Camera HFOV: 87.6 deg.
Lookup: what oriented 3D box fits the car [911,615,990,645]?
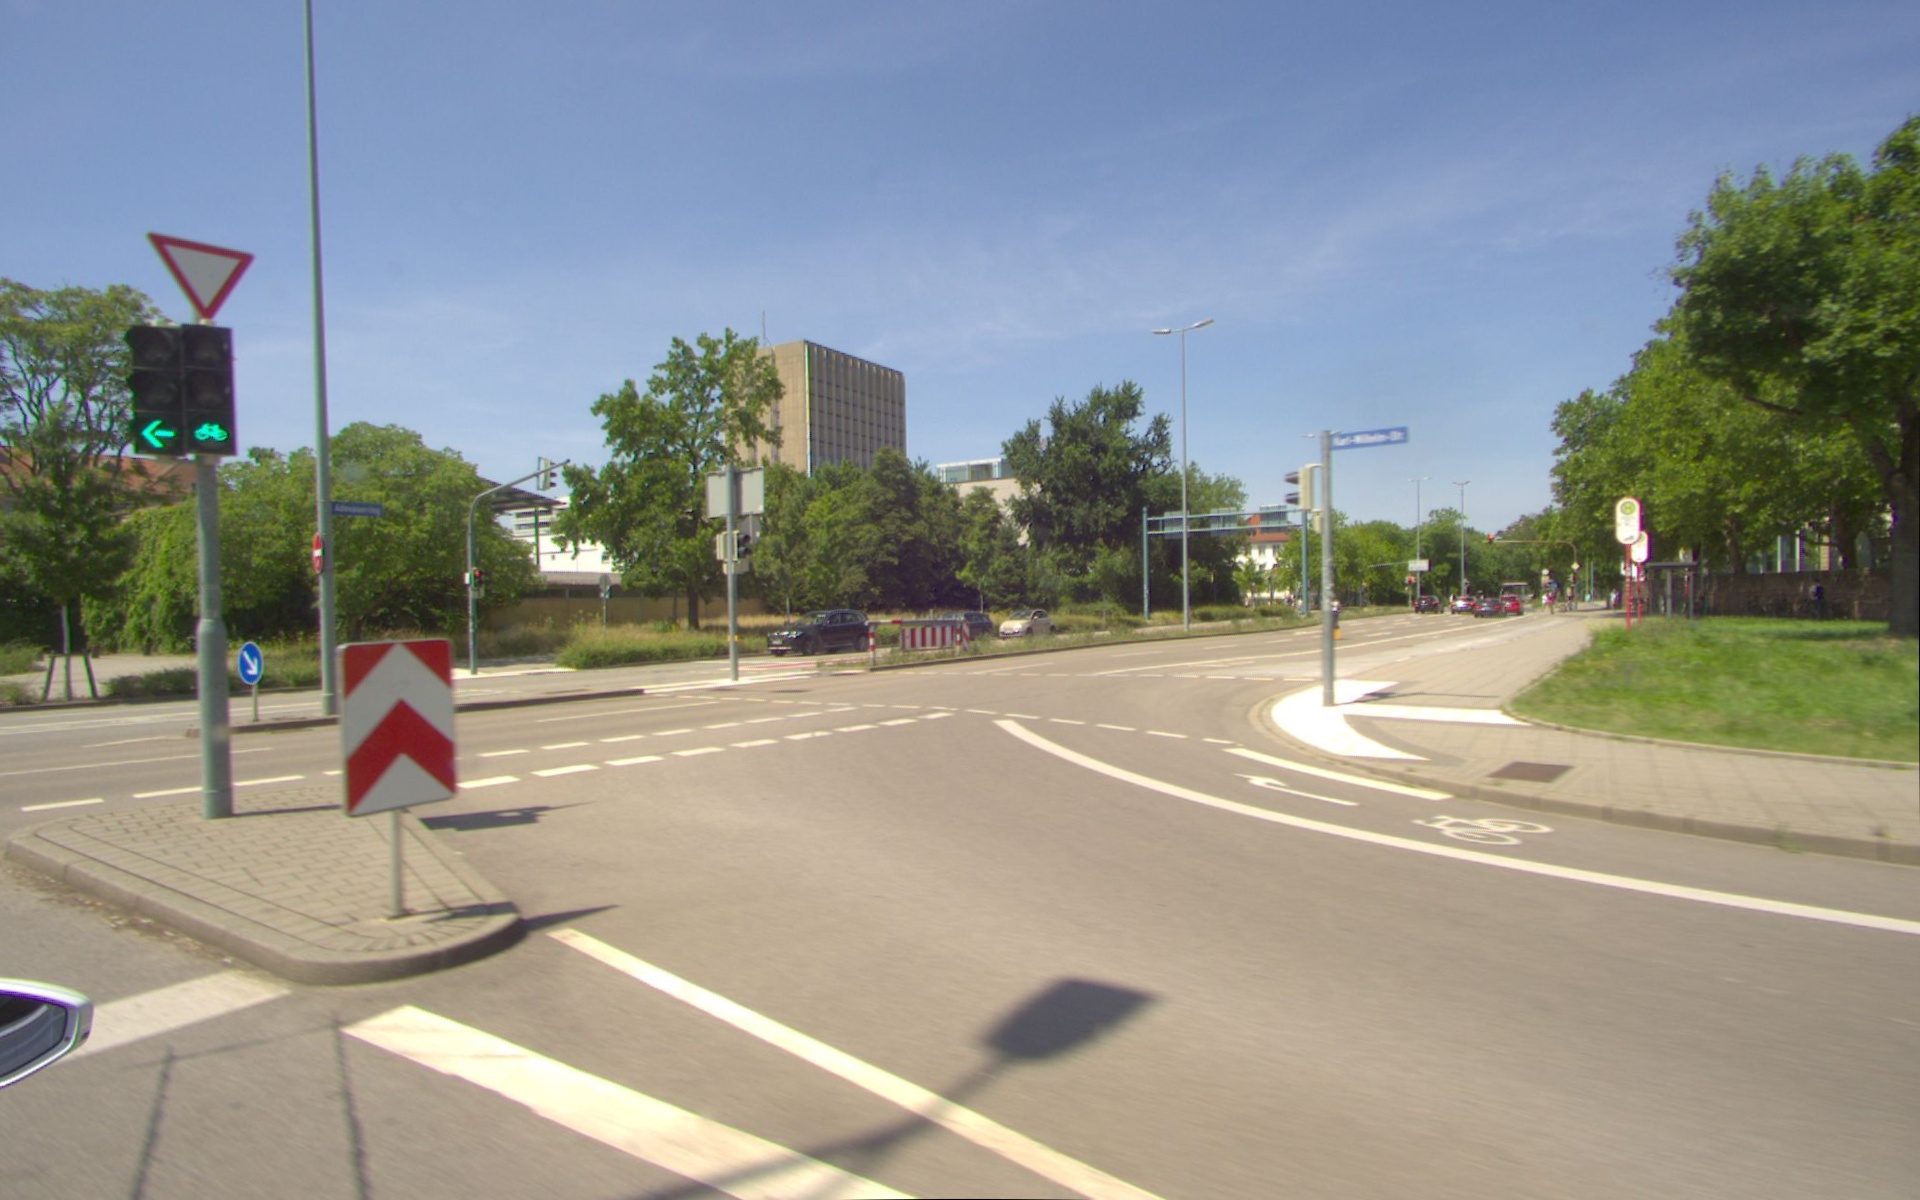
[{"bbox_3d":[-0.393,1.365,45.232,1.734,1.327,3.981,-1,-2,31],"label":"car"}]

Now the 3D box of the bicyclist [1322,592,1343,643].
[{"bbox_3d":[14.170,0.670,38.081,0.697,1.911,1.136,0,-1,24],"label":"bicyclist"}]

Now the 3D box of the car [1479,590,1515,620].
[{"bbox_3d":[39.132,0.403,72.972,1.972,2.039,4.192,-1,-2,33],"label":"car"}]

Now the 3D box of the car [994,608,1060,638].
[{"bbox_3d":[3.458,1.186,50.933,1.734,1.457,3.981,-1,-2,31],"label":"car"}]

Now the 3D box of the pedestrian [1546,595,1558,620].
[{"bbox_3d":[48.557,0.600,82.147,0.778,2.039,0.959,-1,-1,33],"label":"pedestrian"}]

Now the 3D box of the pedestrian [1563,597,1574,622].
[{"bbox_3d":[49.630,0.764,81.672,0.778,2.039,0.836,-1,-1,33],"label":"pedestrian"}]

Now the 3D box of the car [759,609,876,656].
[{"bbox_3d":[-5.354,1.186,38.117,1.688,1.607,4.522,-1,0,38],"label":"car"}]

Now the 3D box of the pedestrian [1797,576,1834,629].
[{"bbox_3d":[38.088,0.136,44.601,0.833,2.320,1.075,0,-1,12],"label":"pedestrian"}]

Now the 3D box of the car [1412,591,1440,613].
[{"bbox_3d":[38.816,0.156,83.349,1.752,1.689,3.982,-1,-2,31],"label":"car"}]

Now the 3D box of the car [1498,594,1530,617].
[{"bbox_3d":[43.002,0.457,77.735,1.758,1.705,3.976,-1,-2,35],"label":"car"}]

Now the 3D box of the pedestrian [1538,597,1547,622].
[{"bbox_3d":[47.746,0.772,82.064,0.542,2.039,0.533,0,-1,34],"label":"pedestrian"}]

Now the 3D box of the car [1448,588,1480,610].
[{"bbox_3d":[41.121,-0.055,81.659,1.758,1.705,3.976,-1,-2,35],"label":"car"}]

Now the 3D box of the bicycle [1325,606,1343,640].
[{"bbox_3d":[14.207,0.904,38.043,0.512,1.253,2.186,0,-2,24],"label":"bicycle"}]
